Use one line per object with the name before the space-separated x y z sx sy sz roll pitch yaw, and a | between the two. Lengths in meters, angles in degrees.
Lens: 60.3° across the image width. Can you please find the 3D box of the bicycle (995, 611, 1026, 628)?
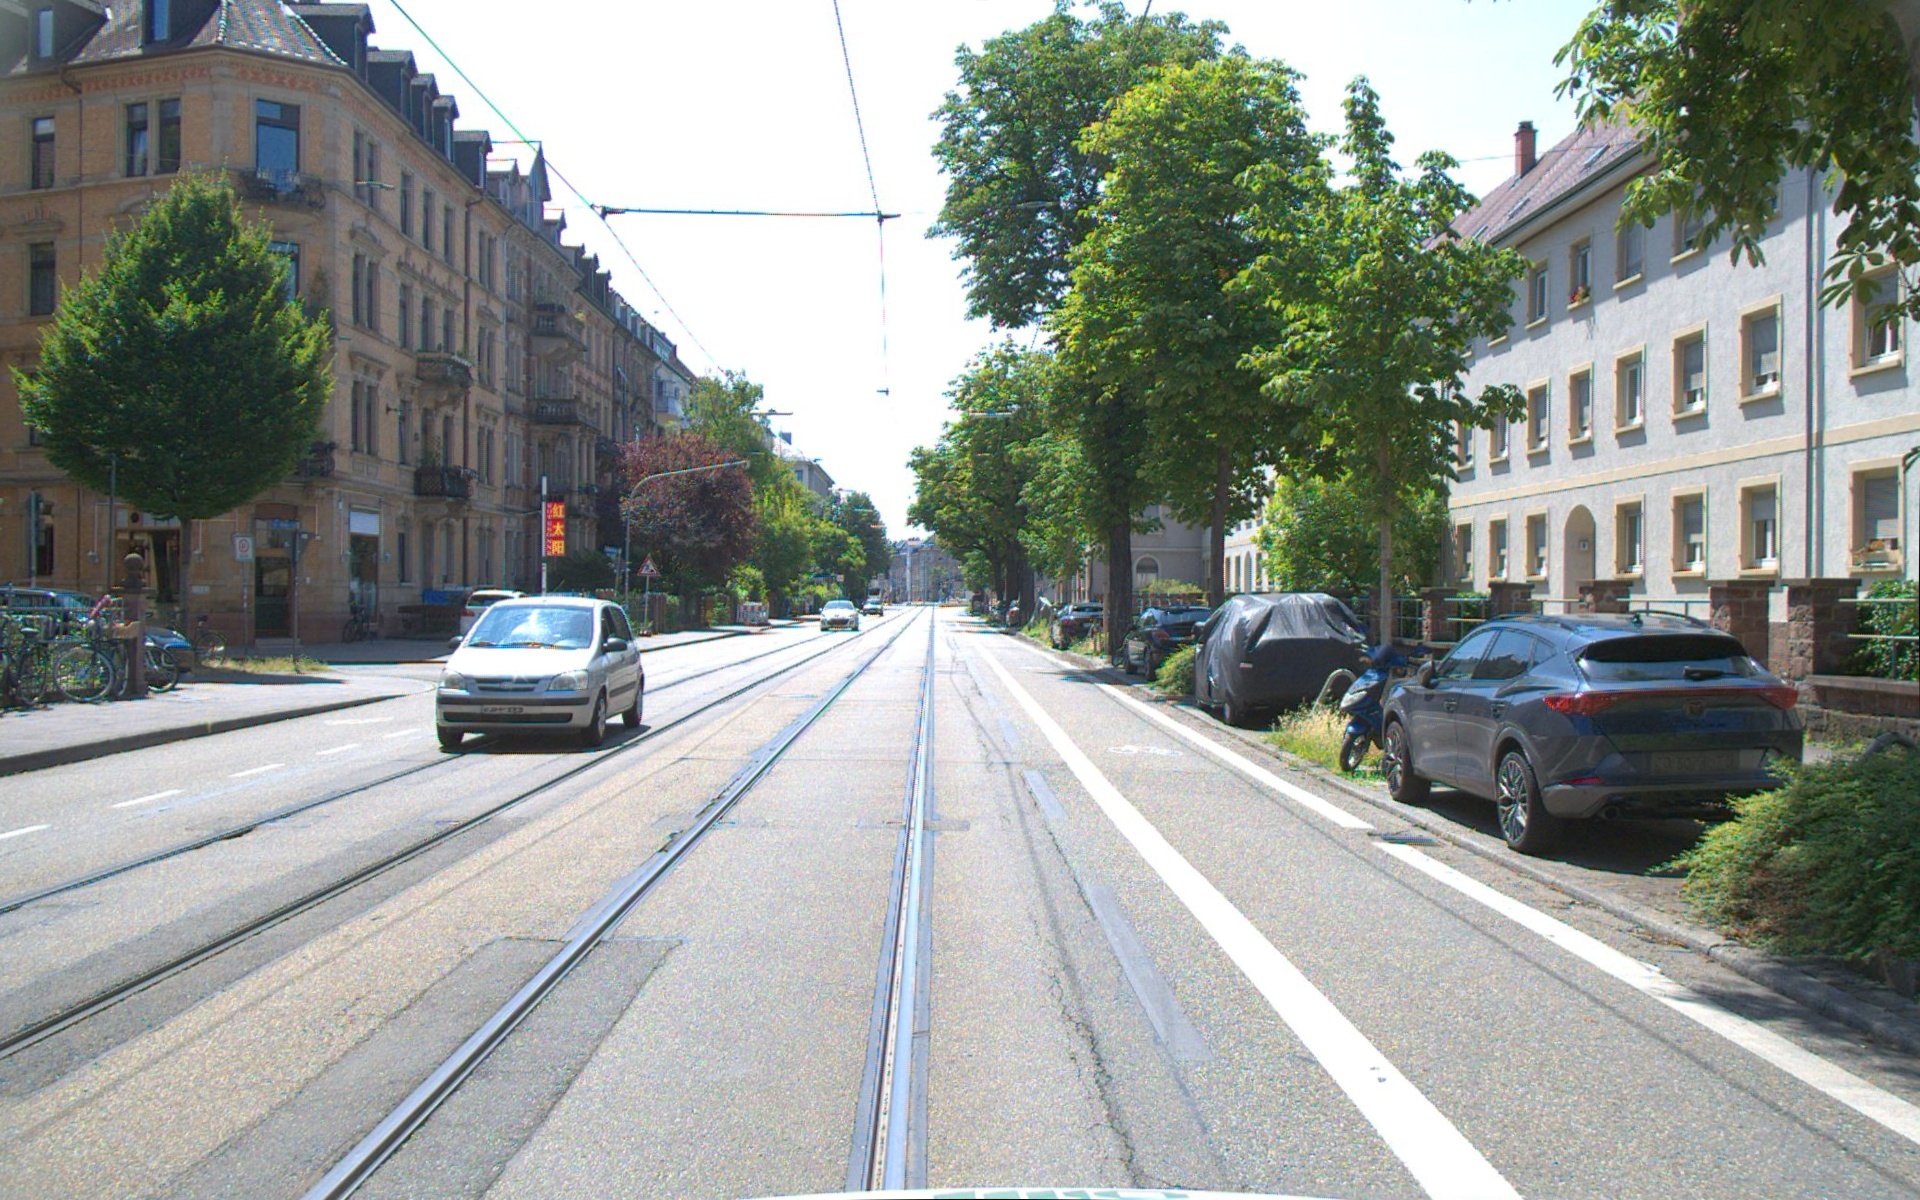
bicycle | 3.181 1.212 103.815 1.921 1.082 0.599 0 -1 6

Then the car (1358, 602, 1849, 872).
car | 4.407 0.820 12.152 1.698 1.579 4.451 0 0 -3

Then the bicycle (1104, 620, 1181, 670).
bicycle | 4.147 1.019 37.612 1.622 1.097 0.605 0 0 -9

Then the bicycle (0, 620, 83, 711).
bicycle | -10.946 0.746 19.438 0.430 1.000 1.710 0 0 -3

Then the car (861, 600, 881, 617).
car | -7.664 0.728 142.530 1.652 1.480 3.747 0 0 -1

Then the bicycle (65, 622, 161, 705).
bicycle | -10.970 0.805 21.479 0.430 1.000 1.710 0 0 -3

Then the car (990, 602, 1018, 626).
car | 2.873 0.924 108.112 1.589 1.473 3.809 -3 -1 -1

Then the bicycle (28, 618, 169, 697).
bicycle | -11.901 0.784 22.873 1.669 1.055 0.551 0 0 3

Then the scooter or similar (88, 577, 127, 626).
scooter or similar | -23.204 0.046 45.027 1.258 1.296 0.494 -1 0 41

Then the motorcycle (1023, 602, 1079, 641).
motorcycle | 3.731 0.853 67.806 2.279 1.567 0.864 0 0 42

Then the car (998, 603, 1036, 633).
car | 3.077 0.933 89.332 1.738 1.527 4.303 -1 0 -2

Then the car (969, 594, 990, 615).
car | 1.914 0.440 162.286 1.953 2.071 4.696 0 0 -1

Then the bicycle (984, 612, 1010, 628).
bicycle | 2.628 1.439 117.528 1.779 1.133 0.493 -1 -1 -2

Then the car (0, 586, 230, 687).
car | -13.204 0.542 24.827 3.683 1.453 1.713 0 -1 -1

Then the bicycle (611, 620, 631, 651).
bicycle | -11.603 1.219 56.568 0.445 1.021 1.805 0 0 -4

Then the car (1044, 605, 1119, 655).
car | 3.790 0.907 52.250 1.734 1.451 4.859 0 0 -3

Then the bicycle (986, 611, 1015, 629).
bicycle | 2.774 1.362 112.922 1.968 1.133 0.640 -1 -1 1

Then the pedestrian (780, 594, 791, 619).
pedestrian | -11.860 0.444 112.344 0.736 1.657 0.832 1 -1 -7

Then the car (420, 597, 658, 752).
car | -4.437 0.716 17.996 1.650 1.475 3.999 0 0 -2

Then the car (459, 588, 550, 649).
car | -13.019 0.512 47.482 1.829 1.628 4.096 1 0 -6

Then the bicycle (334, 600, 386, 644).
bicycle | -16.984 0.611 46.844 0.625 1.208 2.145 0 0 2

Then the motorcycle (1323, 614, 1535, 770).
motorcycle | 4.530 0.868 16.003 1.878 1.458 0.670 0 0 -10

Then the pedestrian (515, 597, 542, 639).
pedestrian | -13.846 0.581 53.051 0.696 1.320 0.710 -1 0 -5

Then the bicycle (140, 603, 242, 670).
bicycle | -14.672 0.706 31.602 0.490 1.249 1.848 -1 -2 27

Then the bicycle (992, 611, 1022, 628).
bicycle | 2.950 1.212 103.298 1.849 1.070 0.538 0 -1 6

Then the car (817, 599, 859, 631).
car | -5.796 0.713 78.845 1.720 1.449 3.999 -1 0 -1

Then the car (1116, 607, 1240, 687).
car | 4.277 0.882 33.049 1.661 1.443 4.354 0 0 -3

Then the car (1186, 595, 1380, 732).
car | 4.346 0.779 22.991 1.907 1.679 4.881 0 0 2
